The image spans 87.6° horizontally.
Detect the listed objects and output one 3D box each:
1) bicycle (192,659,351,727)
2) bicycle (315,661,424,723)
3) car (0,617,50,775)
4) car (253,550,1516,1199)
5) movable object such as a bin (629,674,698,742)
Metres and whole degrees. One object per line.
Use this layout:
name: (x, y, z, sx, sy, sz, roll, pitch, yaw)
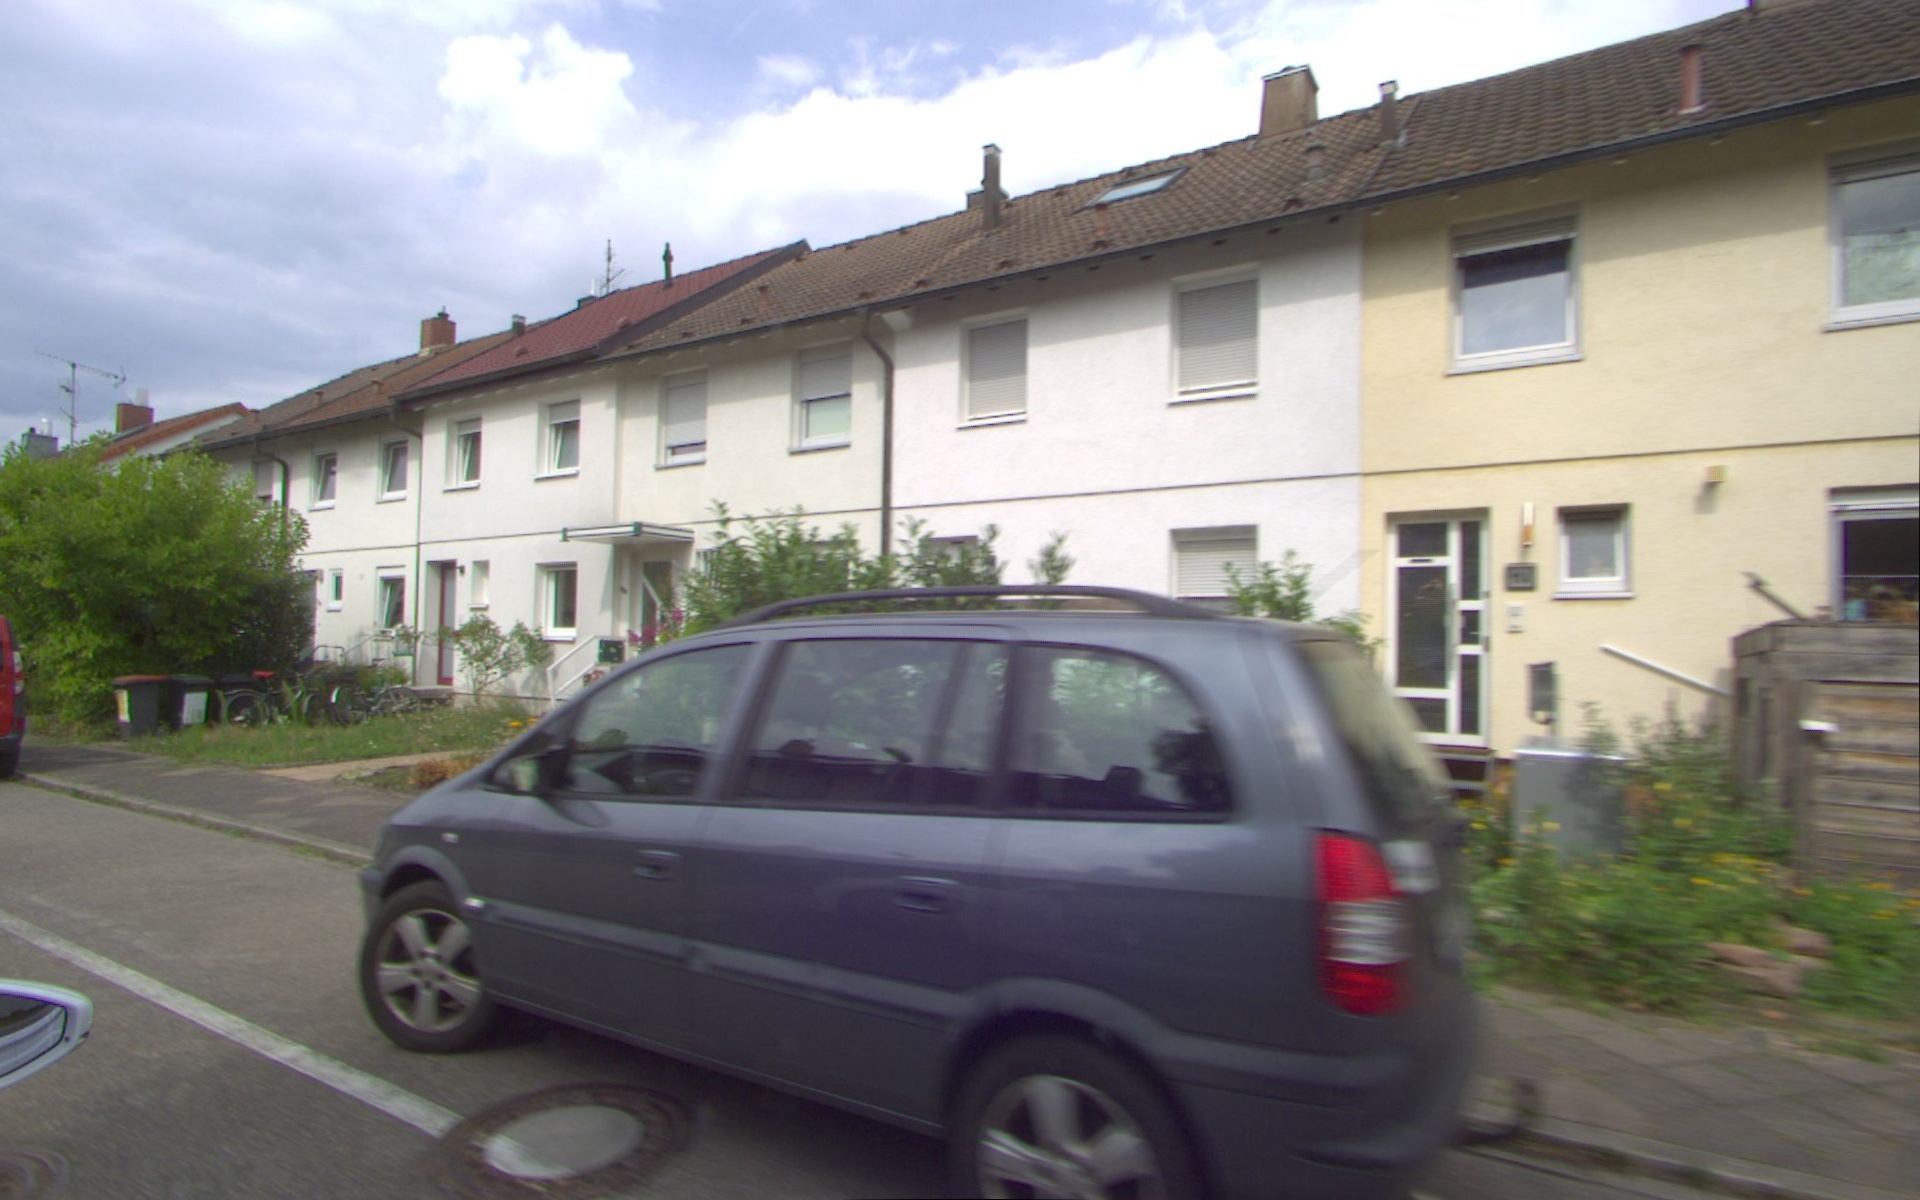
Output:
bicycle: (-10.193, 1.352, 14.901, 0.552, 0.919, 1.876, 0, -2, 30)
bicycle: (-9.307, 1.435, 15.861, 0.731, 0.876, 1.593, 1, -2, 2)
car: (-12.275, 0.999, 11.189, 4.343, 1.672, 1.809, 0, -2, 29)
car: (-0.470, 0.810, 3.723, 4.398, 1.674, 1.866, 0, -3, 31)
movable object such as a bin: (-4.013, 1.450, 13.580, 0.542, 0.861, 0.687, 0, -2, 34)
